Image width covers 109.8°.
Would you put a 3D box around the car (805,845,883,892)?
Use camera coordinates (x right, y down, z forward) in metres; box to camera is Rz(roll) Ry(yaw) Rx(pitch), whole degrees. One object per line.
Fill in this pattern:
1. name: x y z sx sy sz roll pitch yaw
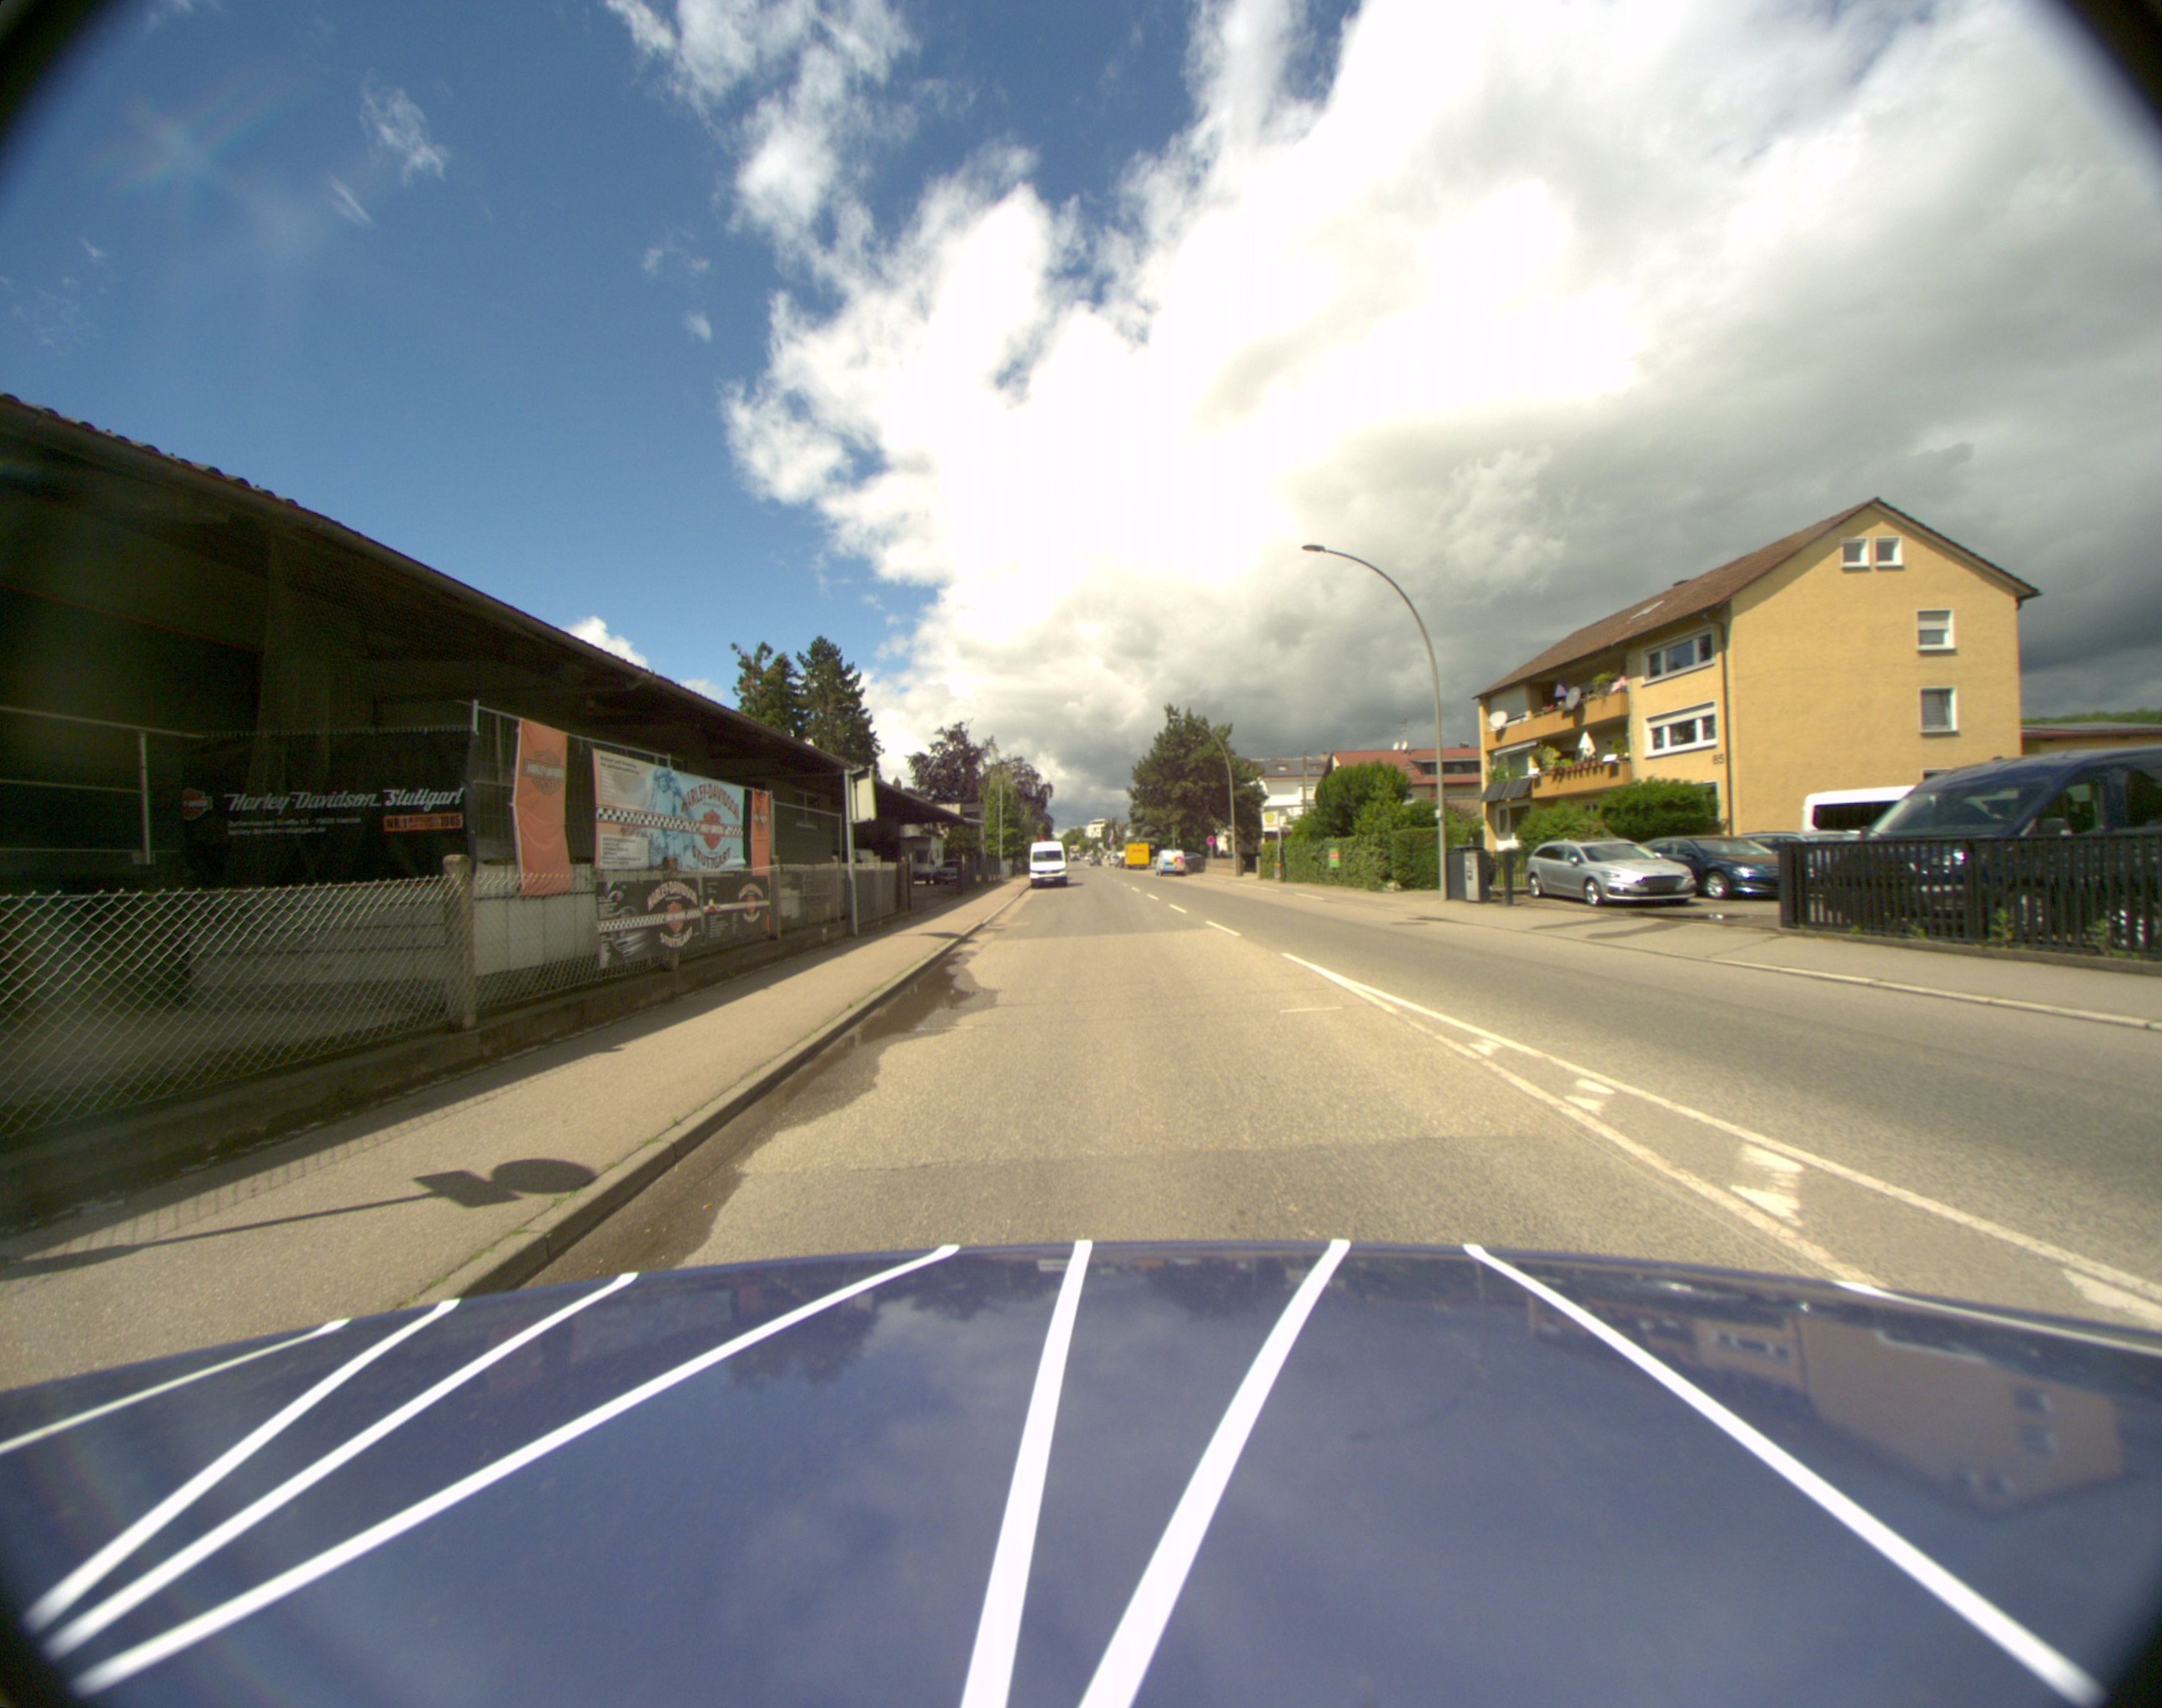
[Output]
1. car: -10.484 0.621 34.059 1.999 1.898 4.853 -2 -1 -1

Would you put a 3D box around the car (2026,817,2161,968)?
1. car: 12.402 0.372 6.971 2.037 1.585 4.283 -2 0 -4

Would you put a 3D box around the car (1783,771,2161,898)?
1. car: 20.570 -0.398 17.951 2.418 2.481 6.135 0 0 2

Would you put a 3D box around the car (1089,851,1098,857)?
1. car: 3.108 0.084 190.130 1.987 1.412 3.999 -1 0 -3

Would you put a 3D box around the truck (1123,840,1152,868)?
1. truck: 6.298 -0.011 85.582 2.330 2.986 7.816 0 0 -2

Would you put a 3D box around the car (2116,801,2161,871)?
1. car: 28.640 -0.477 18.177 1.849 1.781 4.330 -2 0 0

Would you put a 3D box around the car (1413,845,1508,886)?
1. car: 14.263 0.391 28.856 1.848 1.418 4.333 -1 0 7

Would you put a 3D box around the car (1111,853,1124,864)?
1. car: 5.581 0.717 117.255 1.809 1.666 4.127 0 0 -1

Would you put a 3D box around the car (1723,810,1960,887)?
1. car: 17.769 -0.117 18.105 1.848 1.568 4.334 -1 0 11

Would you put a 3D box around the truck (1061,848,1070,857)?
1. truck: -4.641 -0.455 228.910 2.411 2.722 6.639 -4 1 -1

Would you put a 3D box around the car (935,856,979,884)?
1. car: -7.216 0.899 44.709 1.769 1.480 4.926 -2 -1 -1

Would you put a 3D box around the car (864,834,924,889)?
1. car: -9.943 0.434 40.895 2.023 2.665 5.497 -2 -1 -2

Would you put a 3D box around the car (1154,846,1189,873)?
1. car: 6.566 0.439 55.644 1.838 1.842 4.895 1 -1 -1

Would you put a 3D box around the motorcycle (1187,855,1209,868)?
1. motorcycle: 10.560 0.673 68.489 1.872 1.158 0.825 -2 0 16

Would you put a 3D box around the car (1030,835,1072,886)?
1. car: -1.714 0.320 43.784 2.221 2.673 6.656 -1 0 -2

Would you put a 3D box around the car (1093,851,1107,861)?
1. car: 2.910 0.333 117.913 1.906 1.509 4.318 -1 0 -2

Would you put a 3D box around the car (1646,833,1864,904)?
1. car: 15.430 0.292 17.769 1.848 1.418 4.334 -1 0 11

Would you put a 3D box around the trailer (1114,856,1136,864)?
1. trailer: 5.722 0.792 99.599 2.324 0.985 7.458 0 0 -1

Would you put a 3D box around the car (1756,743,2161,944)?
1. car: 13.843 -0.174 10.940 6.053 2.482 2.477 -2 0 -1

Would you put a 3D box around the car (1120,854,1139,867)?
1. car: 5.942 0.776 93.288 1.999 1.445 4.811 2 0 -1

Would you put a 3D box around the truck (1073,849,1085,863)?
1. truck: -0.506 0.598 195.601 2.880 3.290 8.606 -4 1 -1

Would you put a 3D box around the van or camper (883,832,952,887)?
1. van or camper: -9.927 0.298 46.945 2.889 3.043 6.911 -2 0 -2

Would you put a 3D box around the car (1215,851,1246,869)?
1. car: 13.673 0.516 69.679 1.772 1.534 4.086 -2 0 -5

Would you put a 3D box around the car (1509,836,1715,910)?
1. car: 12.453 0.388 18.361 1.997 1.477 5.344 -2 0 10

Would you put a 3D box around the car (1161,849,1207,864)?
1. car: 11.916 0.304 88.011 5.021 1.543 1.972 -2 1 -2

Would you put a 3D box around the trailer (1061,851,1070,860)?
1. trailer: -3.605 0.326 177.305 2.045 2.214 5.078 -1 0 0
